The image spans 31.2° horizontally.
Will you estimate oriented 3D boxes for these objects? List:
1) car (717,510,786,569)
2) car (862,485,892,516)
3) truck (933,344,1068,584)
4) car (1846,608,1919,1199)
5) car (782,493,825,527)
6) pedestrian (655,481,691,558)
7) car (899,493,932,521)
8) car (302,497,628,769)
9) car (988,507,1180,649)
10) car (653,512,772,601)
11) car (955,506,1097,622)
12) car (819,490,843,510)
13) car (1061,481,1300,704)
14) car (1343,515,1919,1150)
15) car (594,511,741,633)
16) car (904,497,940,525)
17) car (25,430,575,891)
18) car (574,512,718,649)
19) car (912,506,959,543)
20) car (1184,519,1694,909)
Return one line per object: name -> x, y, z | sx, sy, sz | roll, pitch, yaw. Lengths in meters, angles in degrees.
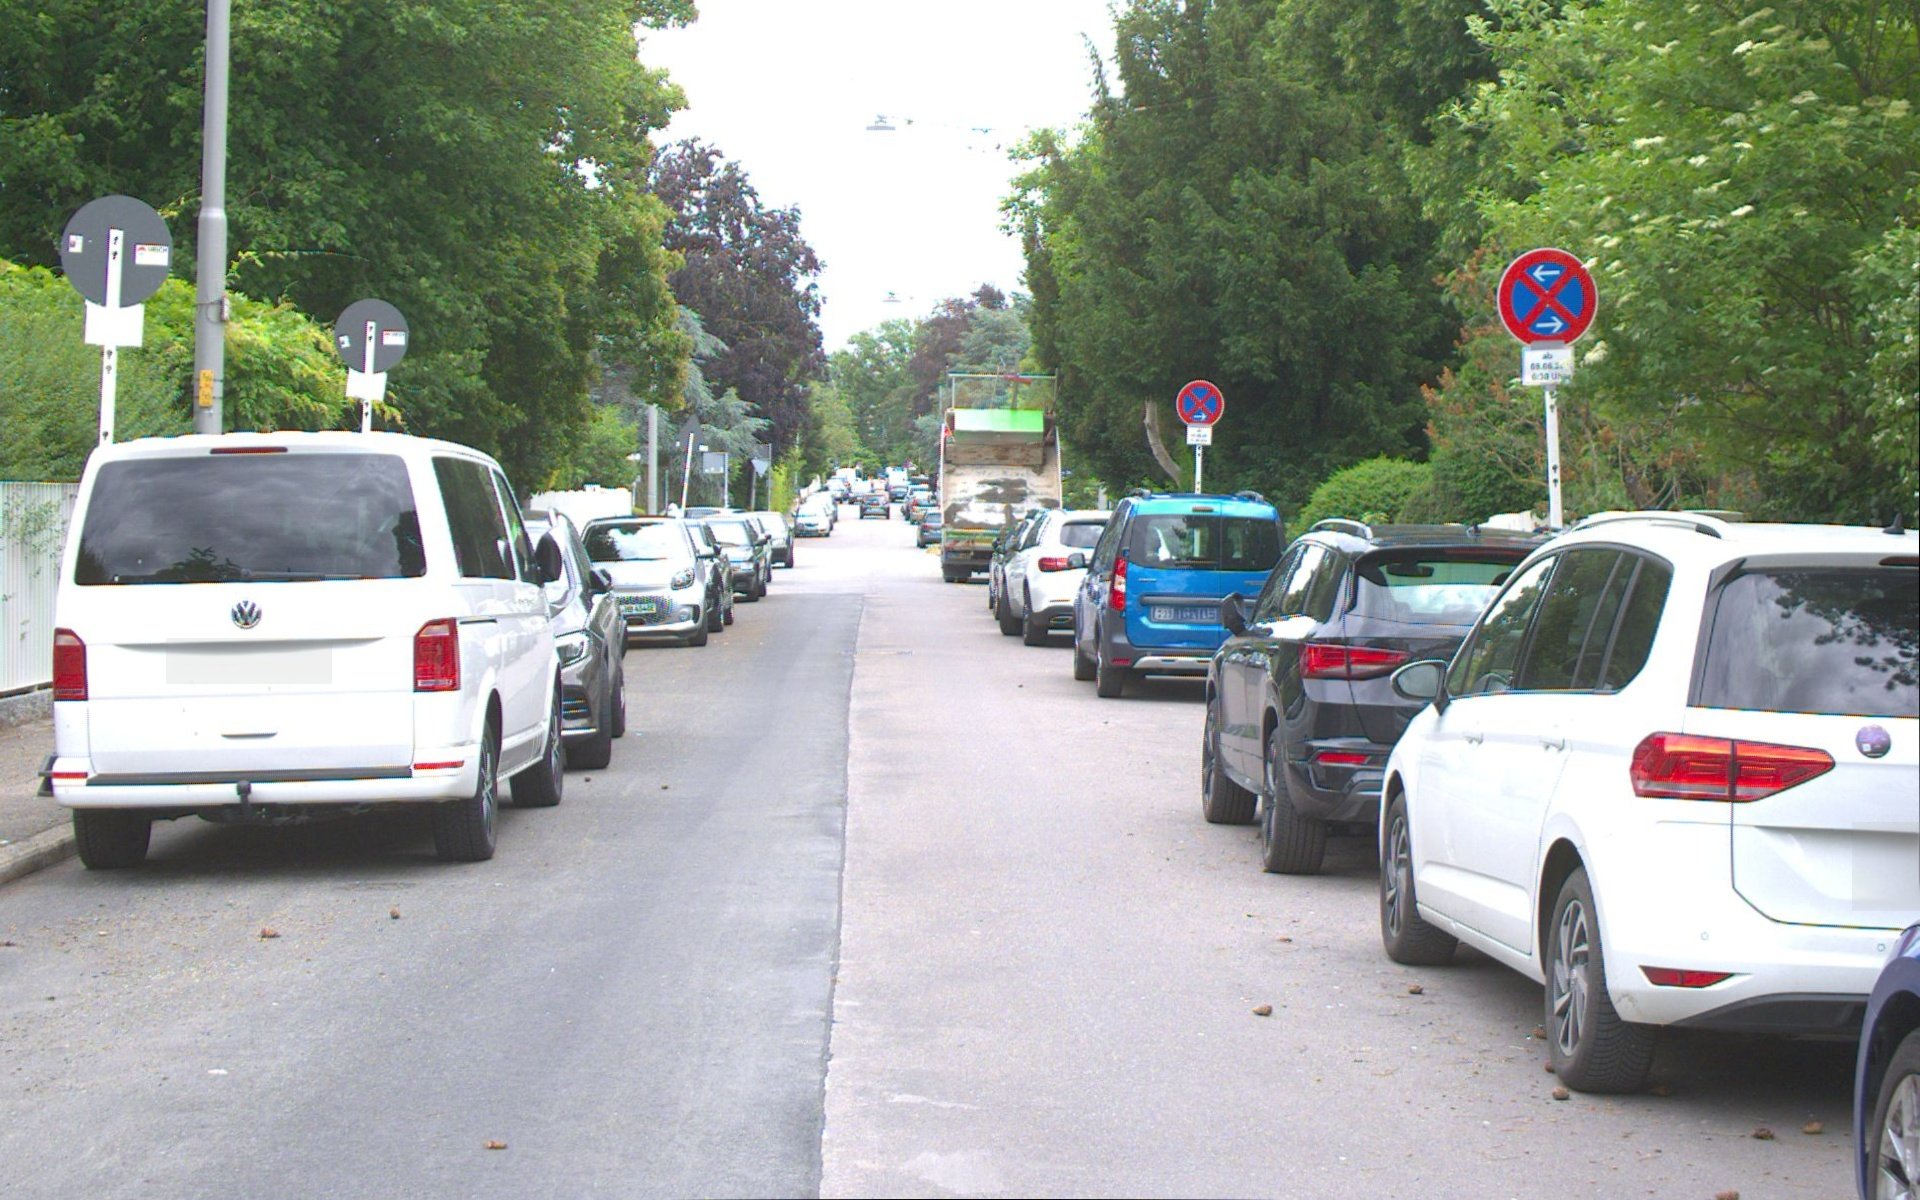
car -> -5.213, -1.541, 86.205 | 1.637, 1.390, 3.990 | -1, 2, -3
car -> -4.808, -5.722, 197.886 | 1.633, 1.695, 3.495 | 1, 2, -2
truck -> 0.786, -2.825, 72.710 | 2.524, 4.732, 7.188 | 2, 1, -1
car -> 2.604, 0.793, 4.675 | 1.647, 1.453, 4.052 | 2, 1, -1
car -> -7.376, -4.239, 162.155 | 1.711, 1.580, 4.000 | 1, 2, 1
pedestrian -> -7.710, -2.163, 92.322 | 0.852, 2.007, 0.701 | 2, 1, -6
car -> -2.493, -5.289, 194.989 | 1.789, 1.524, 3.734 | 1, 2, 0
car -> -3.179, 0.137, 22.825 | 1.790, 1.617, 4.344 | -1, 2, -4
car -> 1.466, -0.315, 42.238 | 1.757, 1.600, 4.576 | 2, 1, -5
car -> -4.231, -0.780, 59.301 | 1.641, 1.417, 4.550 | -2, 2, 1
car -> 0.895, -0.546, 48.773 | 1.698, 1.565, 4.309 | 0, 1, -3
car -> -9.409, -7.271, 250.569 | 1.626, 1.381, 3.599 | 3, 1, -2
car -> 1.941, -0.135, 31.344 | 1.682, 1.823, 4.157 | 3, 2, -2
car -> 2.489, 0.571, 10.986 | 1.785, 1.598, 4.305 | 3, 1, -3
car -> -3.881, -0.409, 46.070 | 1.655, 1.476, 3.888 | -2, 2, -1
car -> -2.070, -4.831, 186.082 | 1.810, 1.331, 3.633 | 2, 3, -2
car -> -3.064, 0.217, 16.933 | 1.854, 1.907, 4.620 | -2, 1, -1
car -> -3.766, -0.263, 41.397 | 1.621, 1.528, 2.963 | -2, 2, -5
car -> -1.044, -3.141, 142.441 | 1.778, 1.484, 4.001 | 1, 1, -2
car -> 2.198, 0.460, 16.858 | 1.750, 1.602, 4.076 | 3, 1, -2
